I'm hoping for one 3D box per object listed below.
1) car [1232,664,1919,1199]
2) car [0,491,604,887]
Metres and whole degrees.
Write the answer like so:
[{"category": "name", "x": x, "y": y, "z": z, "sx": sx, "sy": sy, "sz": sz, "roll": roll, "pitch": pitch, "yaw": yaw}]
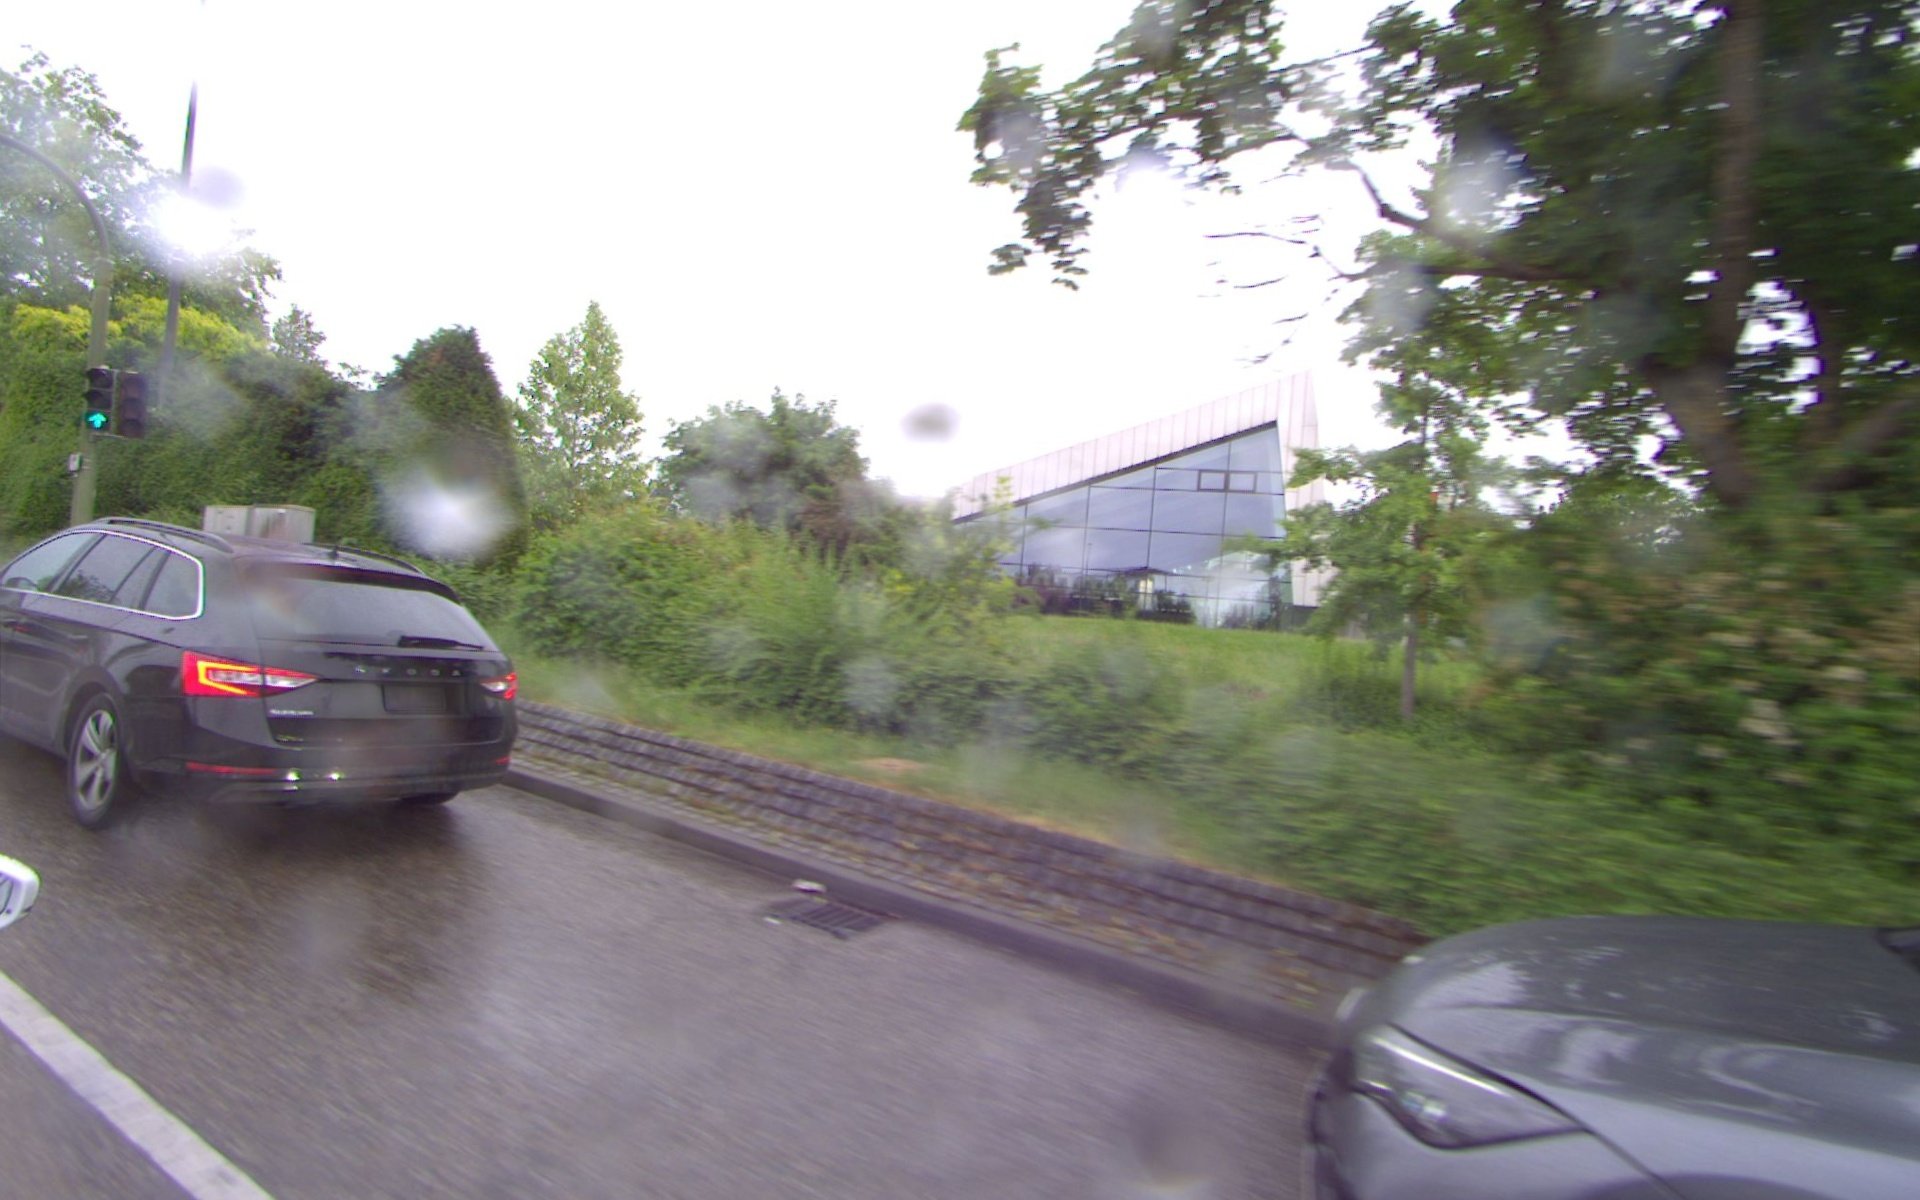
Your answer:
[{"category": "car", "x": 2.935, "y": 1.154, "z": 1.605, "sx": 4.475, "sy": 1.460, "sz": 1.835, "roll": 6, "pitch": -2, "yaw": 32}, {"category": "car", "x": -4.535, "y": 0.316, "z": 6.086, "sx": 4.533, "sy": 1.524, "sz": 1.959, "roll": 6, "pitch": -3, "yaw": 32}]
